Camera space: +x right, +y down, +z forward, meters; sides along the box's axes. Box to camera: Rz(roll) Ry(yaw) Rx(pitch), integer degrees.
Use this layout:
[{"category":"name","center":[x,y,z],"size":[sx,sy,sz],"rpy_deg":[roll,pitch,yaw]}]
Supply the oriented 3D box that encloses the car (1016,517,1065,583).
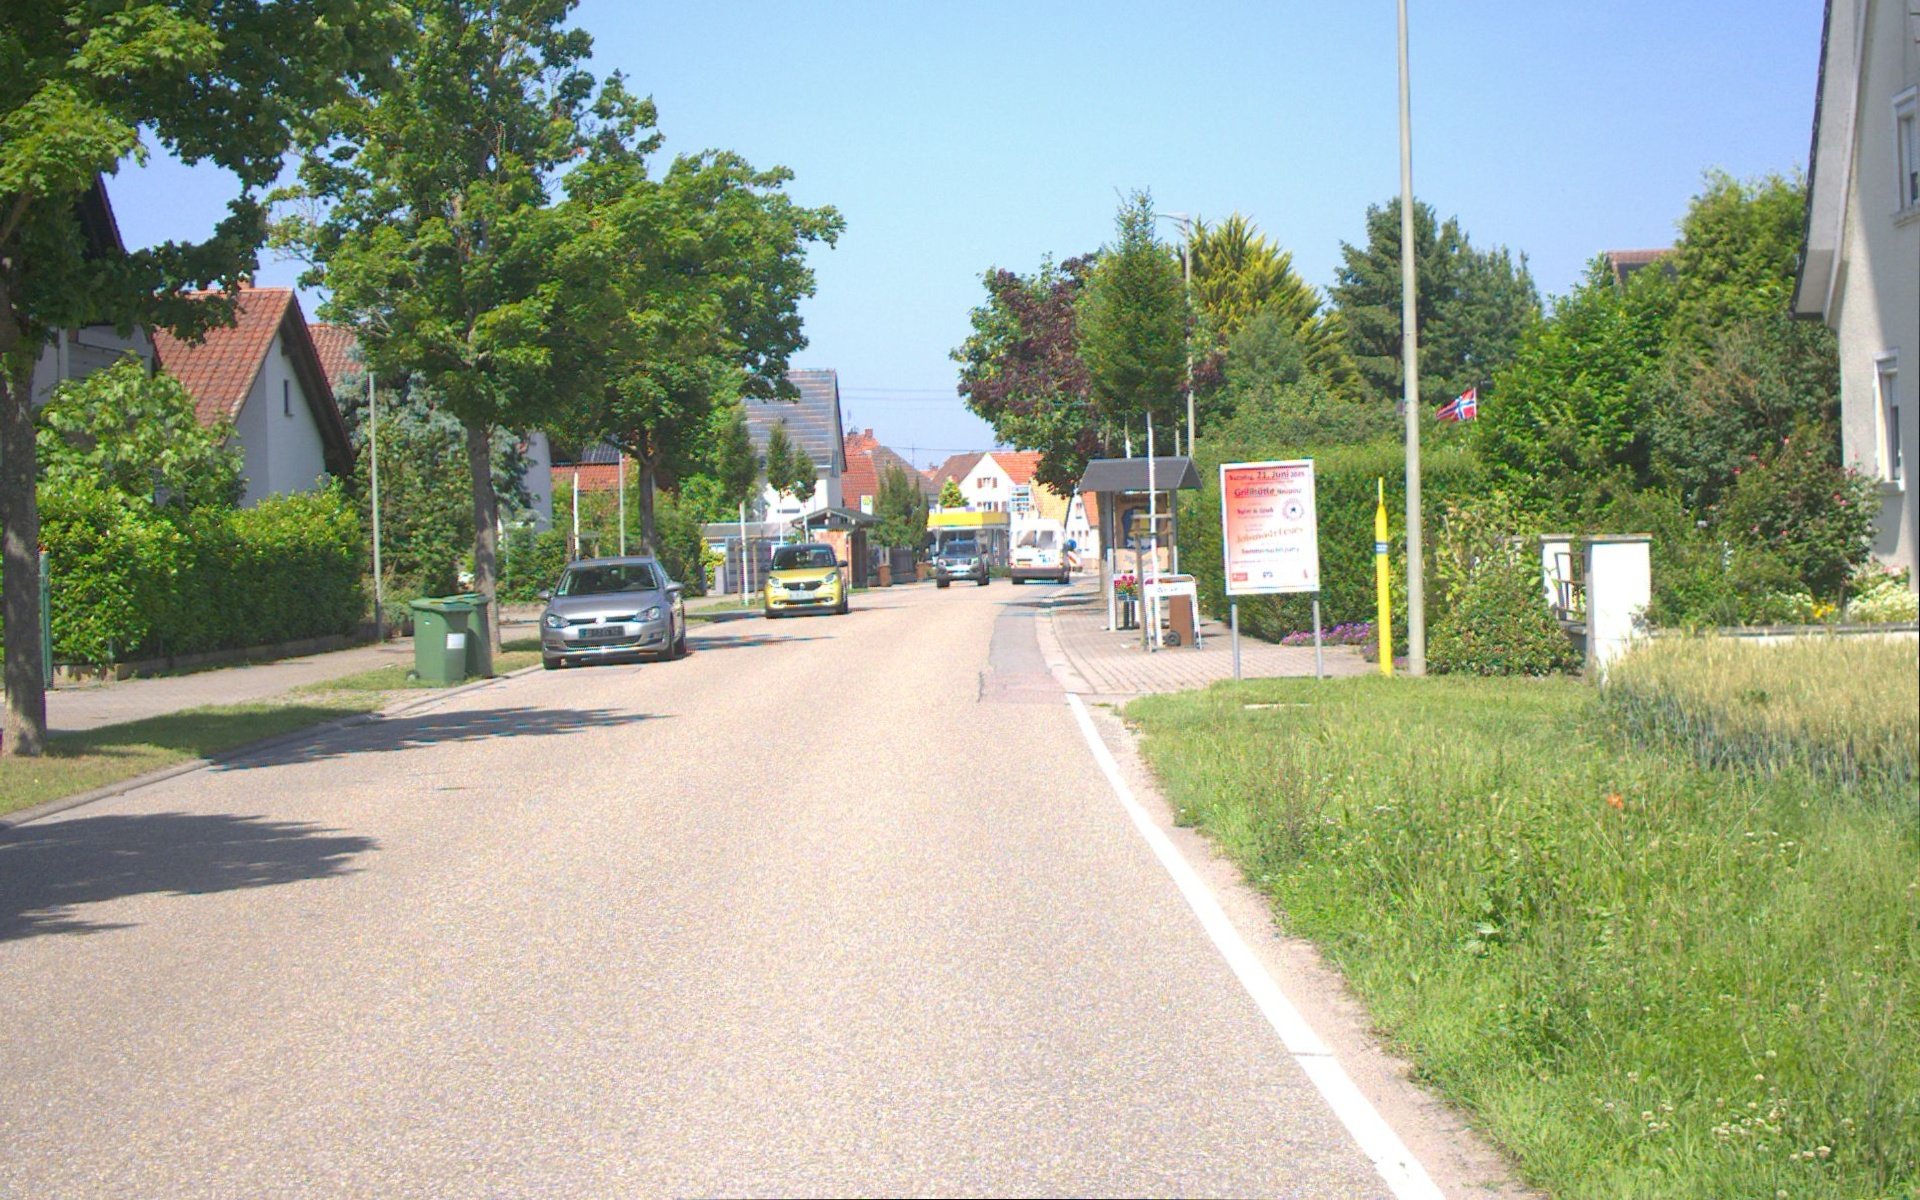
[{"category":"car","center":[3.080,-1.912,131.499],"size":[1.737,2.424,4.374],"rpy_deg":[-2,1,1]}]

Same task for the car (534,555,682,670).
[{"category":"car","center":[-4.811,0.141,47.463],"size":[1.647,1.419,4.081],"rpy_deg":[-4,1,-1]}]

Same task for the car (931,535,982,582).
[{"category":"car","center":[-0.142,-1.630,133.739],"size":[1.835,1.747,3.796],"rpy_deg":[-2,1,-1]}]

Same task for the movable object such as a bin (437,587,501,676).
[{"category":"movable object such as a bin","center":[-6.101,0.387,42.745],"size":[0.575,1.075,0.598],"rpy_deg":[-1,1,14]}]

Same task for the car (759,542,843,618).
[{"category":"car","center":[-3.384,-0.451,73.797],"size":[1.666,1.519,3.443],"rpy_deg":[-2,1,-1]}]

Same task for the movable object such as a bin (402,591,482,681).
[{"category":"movable object such as a bin","center":[-6.343,0.437,42.098],"size":[0.714,1.075,0.639],"rpy_deg":[-1,1,26]}]
